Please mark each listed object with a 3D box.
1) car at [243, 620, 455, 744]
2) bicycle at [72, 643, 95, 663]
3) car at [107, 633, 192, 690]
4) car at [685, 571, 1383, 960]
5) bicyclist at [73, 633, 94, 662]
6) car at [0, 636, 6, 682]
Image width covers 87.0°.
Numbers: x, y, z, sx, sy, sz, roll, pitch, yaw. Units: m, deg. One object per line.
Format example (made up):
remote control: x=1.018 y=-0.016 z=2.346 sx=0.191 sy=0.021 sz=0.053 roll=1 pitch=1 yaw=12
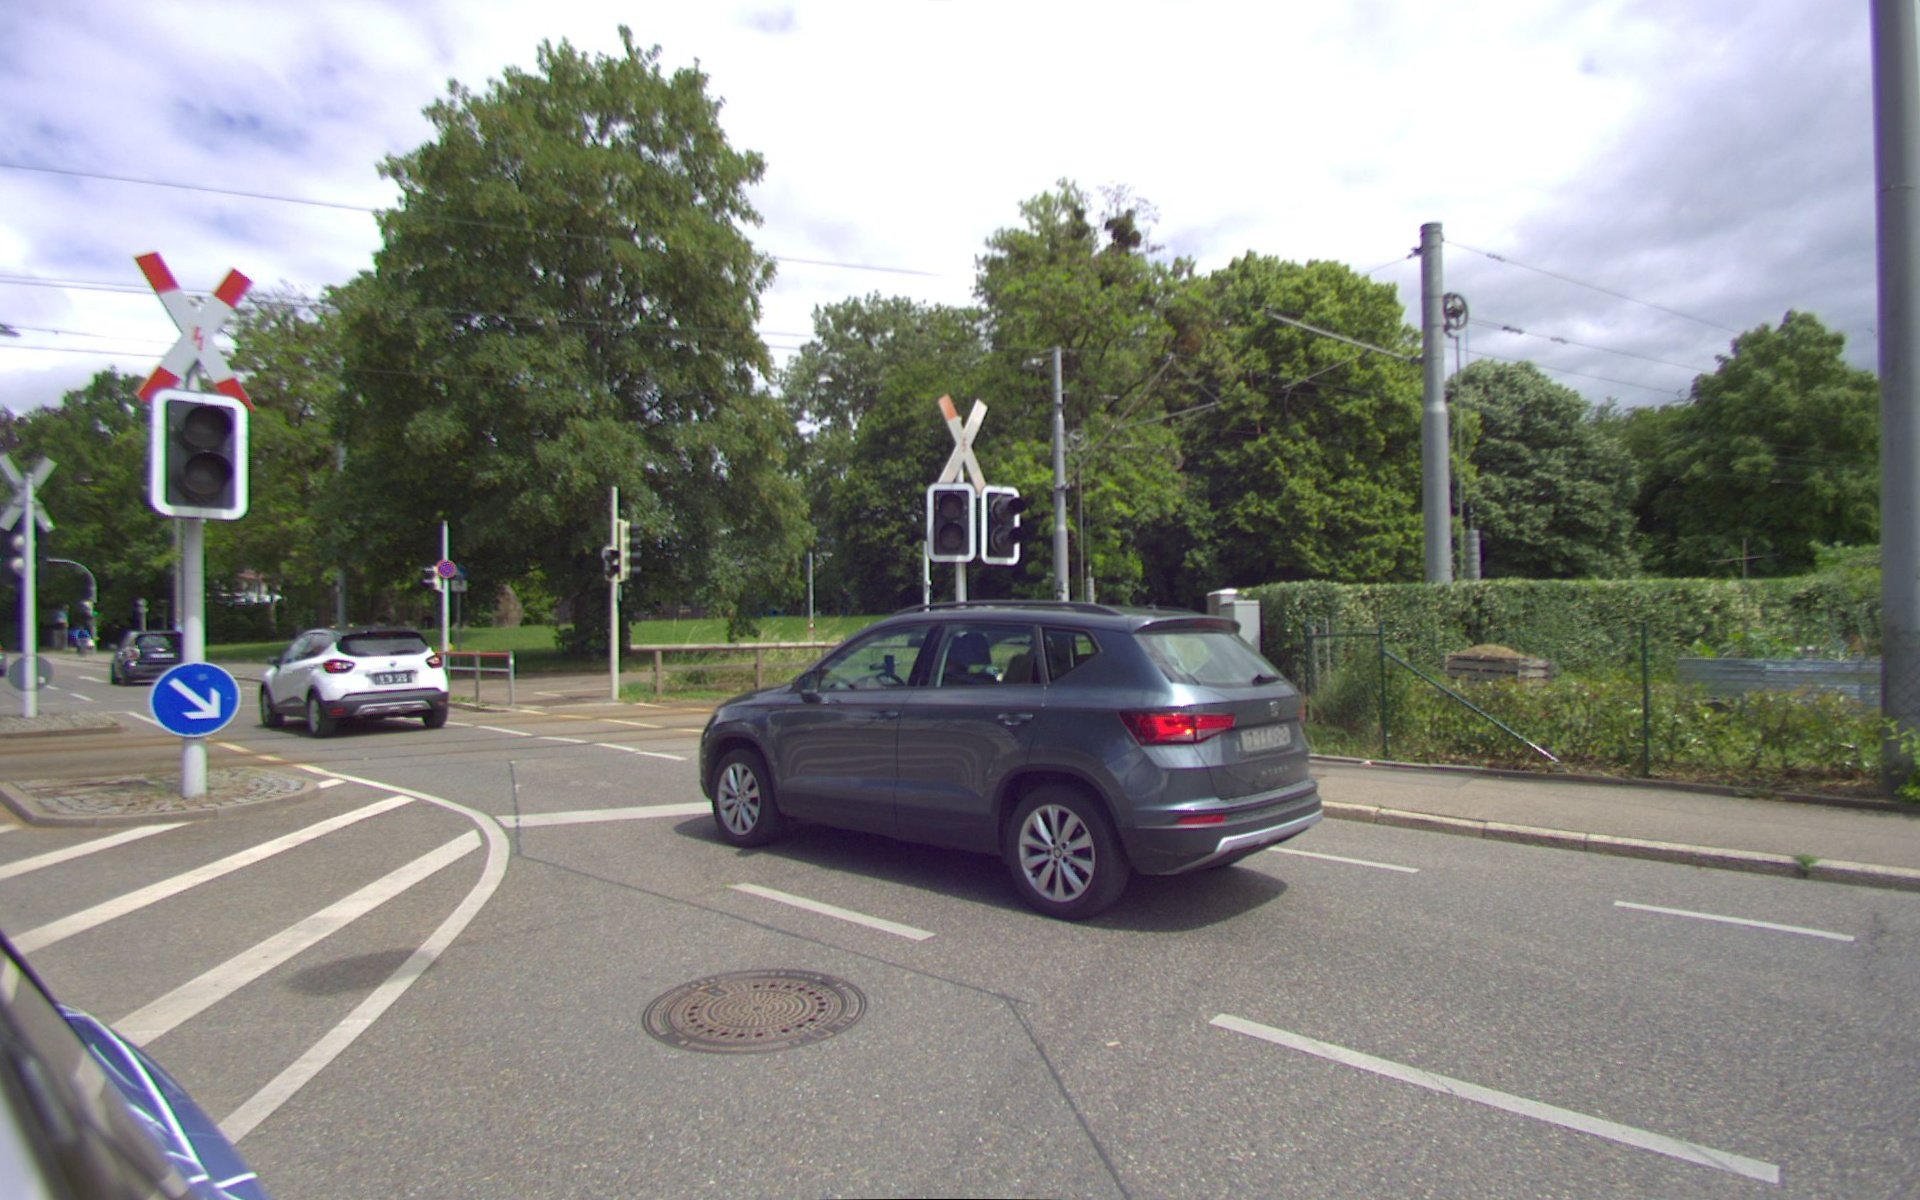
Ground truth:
car: x=-9.497 y=1.166 z=15.592 sx=4.039 sy=1.615 sz=1.755 roll=-2 pitch=-1 yaw=43
bicycle: x=-50.720 y=3.071 z=58.564 sx=1.799 sy=1.116 sz=0.803 roll=-2 pitch=0 yaw=42
car: x=-23.140 y=1.743 z=28.871 sx=2.789 sy=1.521 sz=1.557 roll=-3 pitch=-3 yaw=44
car: x=0.232 y=0.775 z=6.235 sx=4.036 sy=1.615 sz=1.756 roll=-2 pitch=-4 yaw=41
bicyclist: x=-50.679 y=2.763 z=58.518 sx=0.772 sy=1.620 sz=0.796 roll=-2 pitch=0 yaw=42
car: x=-32.774 y=1.924 z=33.227 sx=4.066 sy=1.469 sz=1.671 roll=-2 pitch=-3 yaw=40
